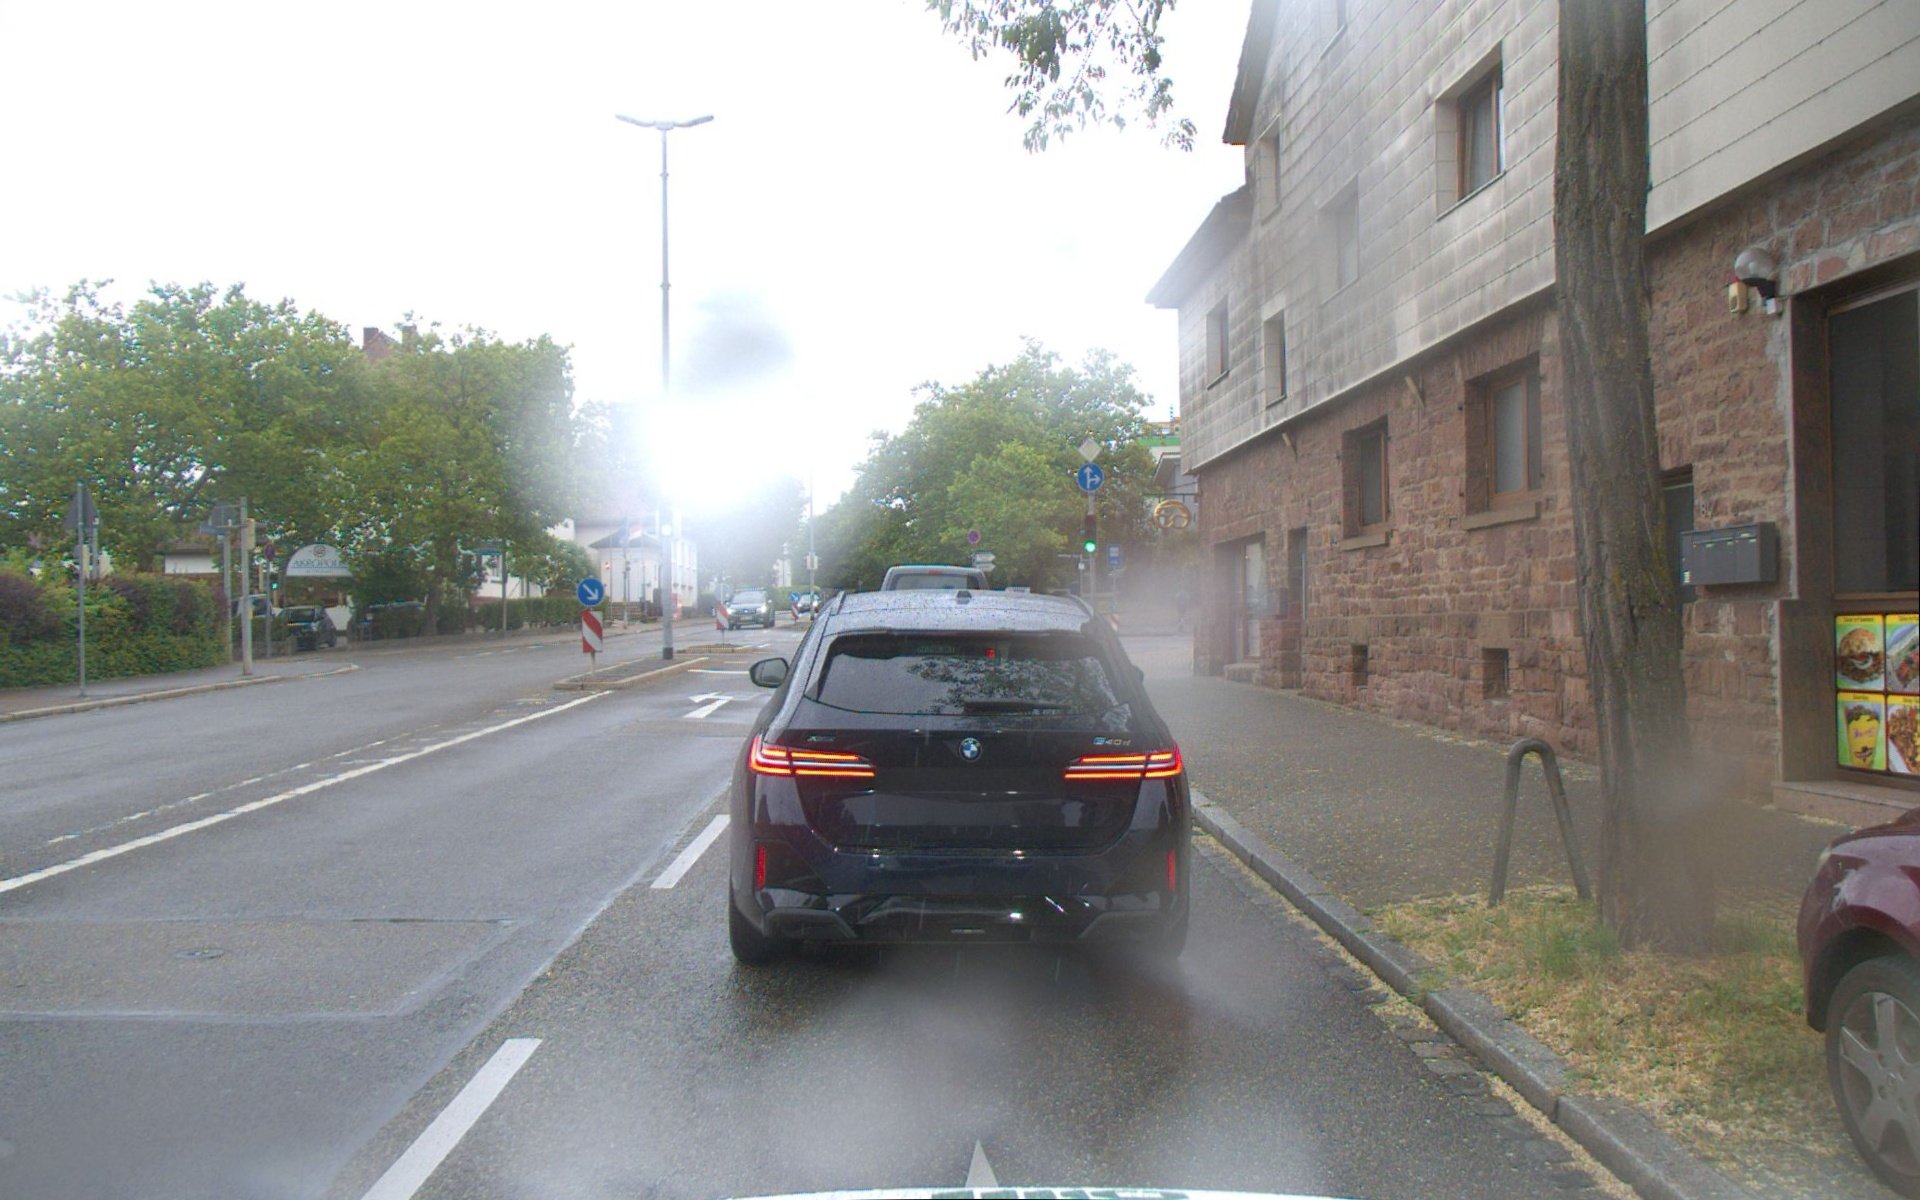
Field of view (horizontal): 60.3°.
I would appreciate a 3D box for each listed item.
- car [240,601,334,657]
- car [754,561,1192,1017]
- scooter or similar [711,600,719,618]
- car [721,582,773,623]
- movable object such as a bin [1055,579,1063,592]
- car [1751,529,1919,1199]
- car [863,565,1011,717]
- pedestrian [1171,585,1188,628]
[{"bbox_3d":[-23.129,0.973,56.997,1.772,1.578,4.000,1,4,-3],"label":"car"},{"bbox_3d":[-0.059,0.665,7.476,1.494,1.561,3.529,1,0,-4],"label":"car"},{"bbox_3d":[-15.518,0.566,104.711,0.382,1.083,1.409,1,0,-5],"label":"scooter or similar"},{"bbox_3d":[-8.961,0.068,69.718,1.861,1.604,4.499,-1,1,-4],"label":"car"},{"bbox_3d":[6.900,-1.016,115.375,0.440,0.921,0.463,1,-1,14],"label":"movable object such as a bin"},{"bbox_3d":[3.056,0.579,2.677,1.578,1.530,3.753,1,-2,-4],"label":"car"},{"bbox_3d":[-0.395,0.515,22.202,1.776,1.840,3.753,1,0,-4],"label":"car"},{"bbox_3d":[8.490,0.239,64.003,0.588,1.645,0.526,1,-1,6],"label":"pedestrian"}]
